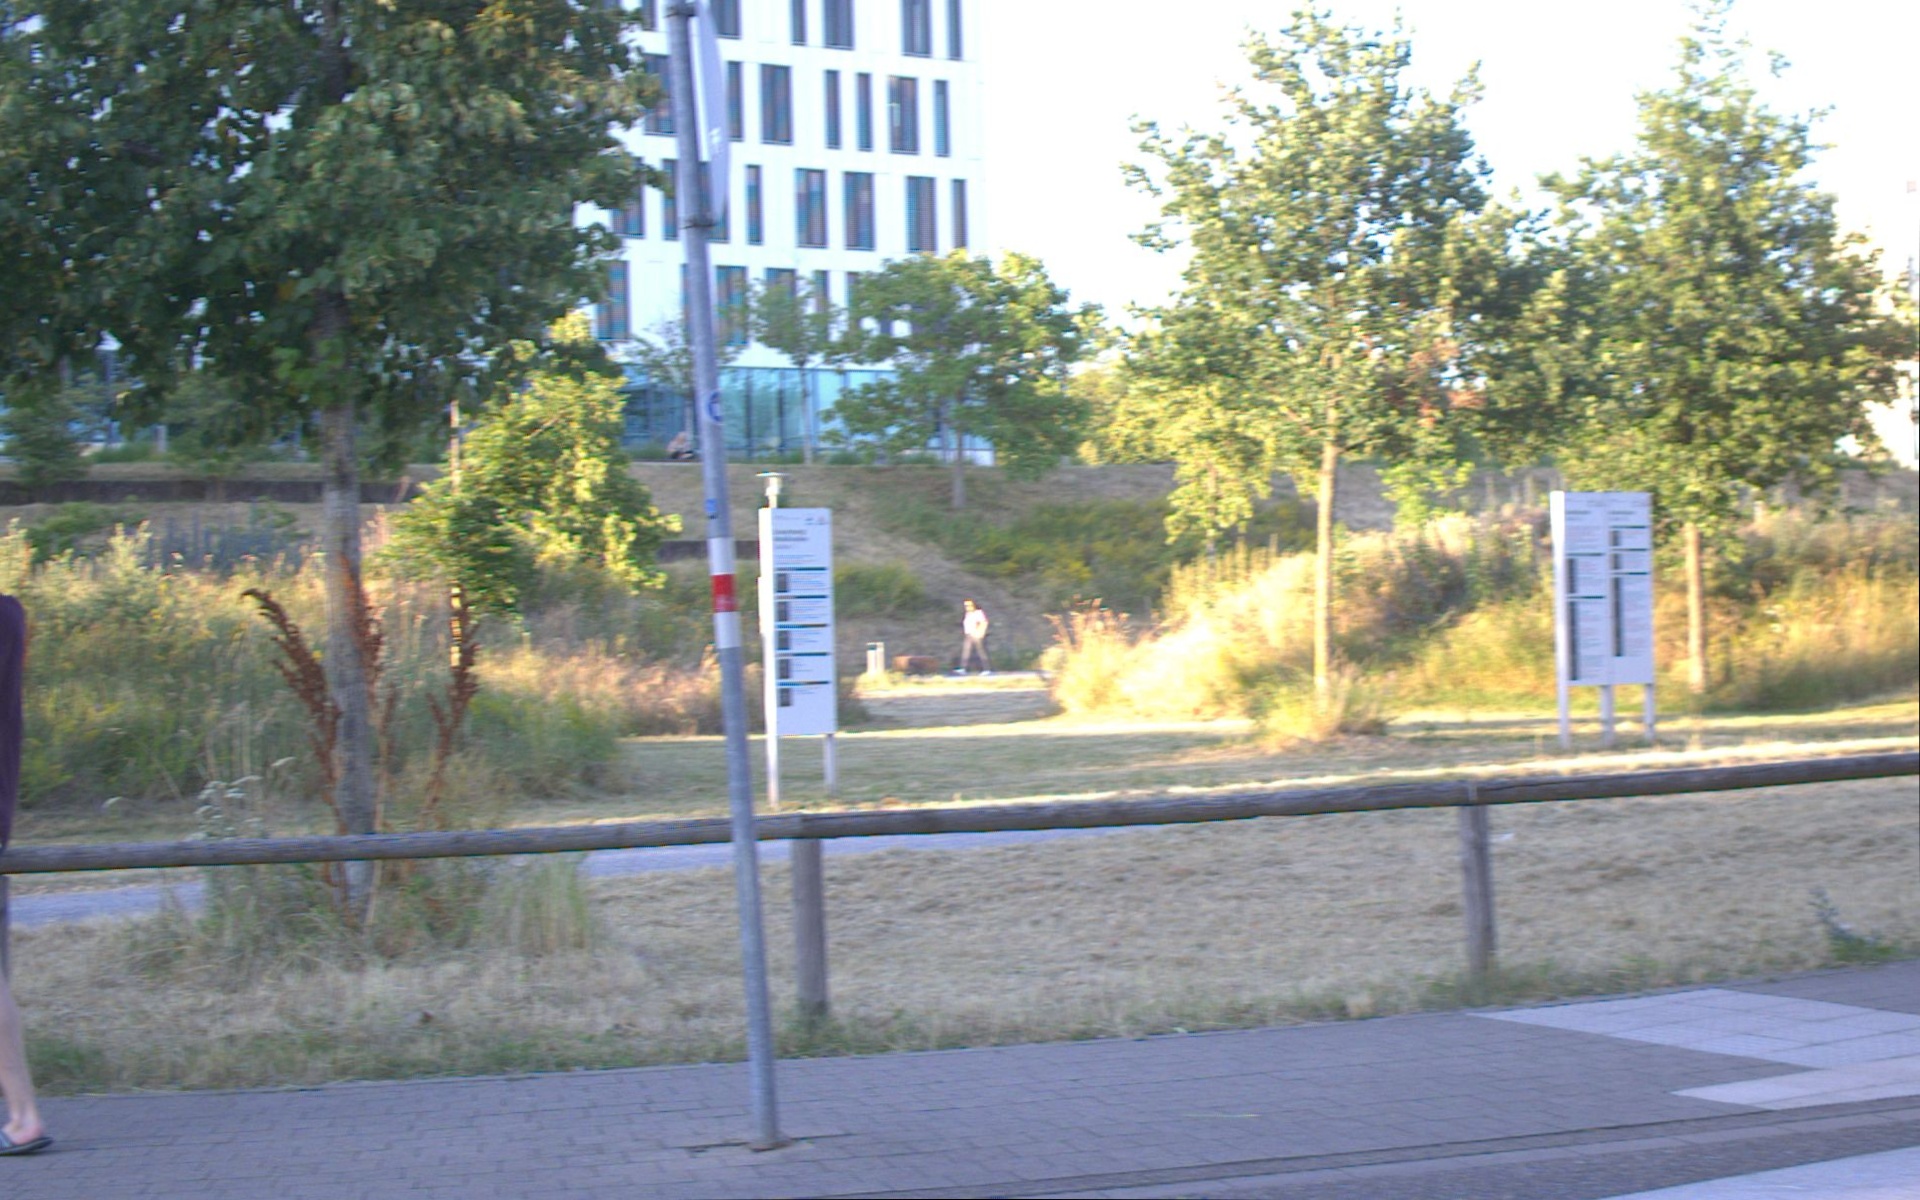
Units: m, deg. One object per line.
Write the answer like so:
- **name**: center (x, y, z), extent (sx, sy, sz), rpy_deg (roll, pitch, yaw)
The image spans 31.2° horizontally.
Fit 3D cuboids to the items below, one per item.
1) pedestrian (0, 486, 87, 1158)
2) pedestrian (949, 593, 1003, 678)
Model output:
- **pedestrian**: center (-2.887, 0.591, 9.352), extent (0.732, 1.778, 0.802), rpy_deg (-1, 0, -34)
- **pedestrian**: center (0.331, 0.745, 72.645), extent (0.815, 1.760, 0.834), rpy_deg (-1, 0, -29)
